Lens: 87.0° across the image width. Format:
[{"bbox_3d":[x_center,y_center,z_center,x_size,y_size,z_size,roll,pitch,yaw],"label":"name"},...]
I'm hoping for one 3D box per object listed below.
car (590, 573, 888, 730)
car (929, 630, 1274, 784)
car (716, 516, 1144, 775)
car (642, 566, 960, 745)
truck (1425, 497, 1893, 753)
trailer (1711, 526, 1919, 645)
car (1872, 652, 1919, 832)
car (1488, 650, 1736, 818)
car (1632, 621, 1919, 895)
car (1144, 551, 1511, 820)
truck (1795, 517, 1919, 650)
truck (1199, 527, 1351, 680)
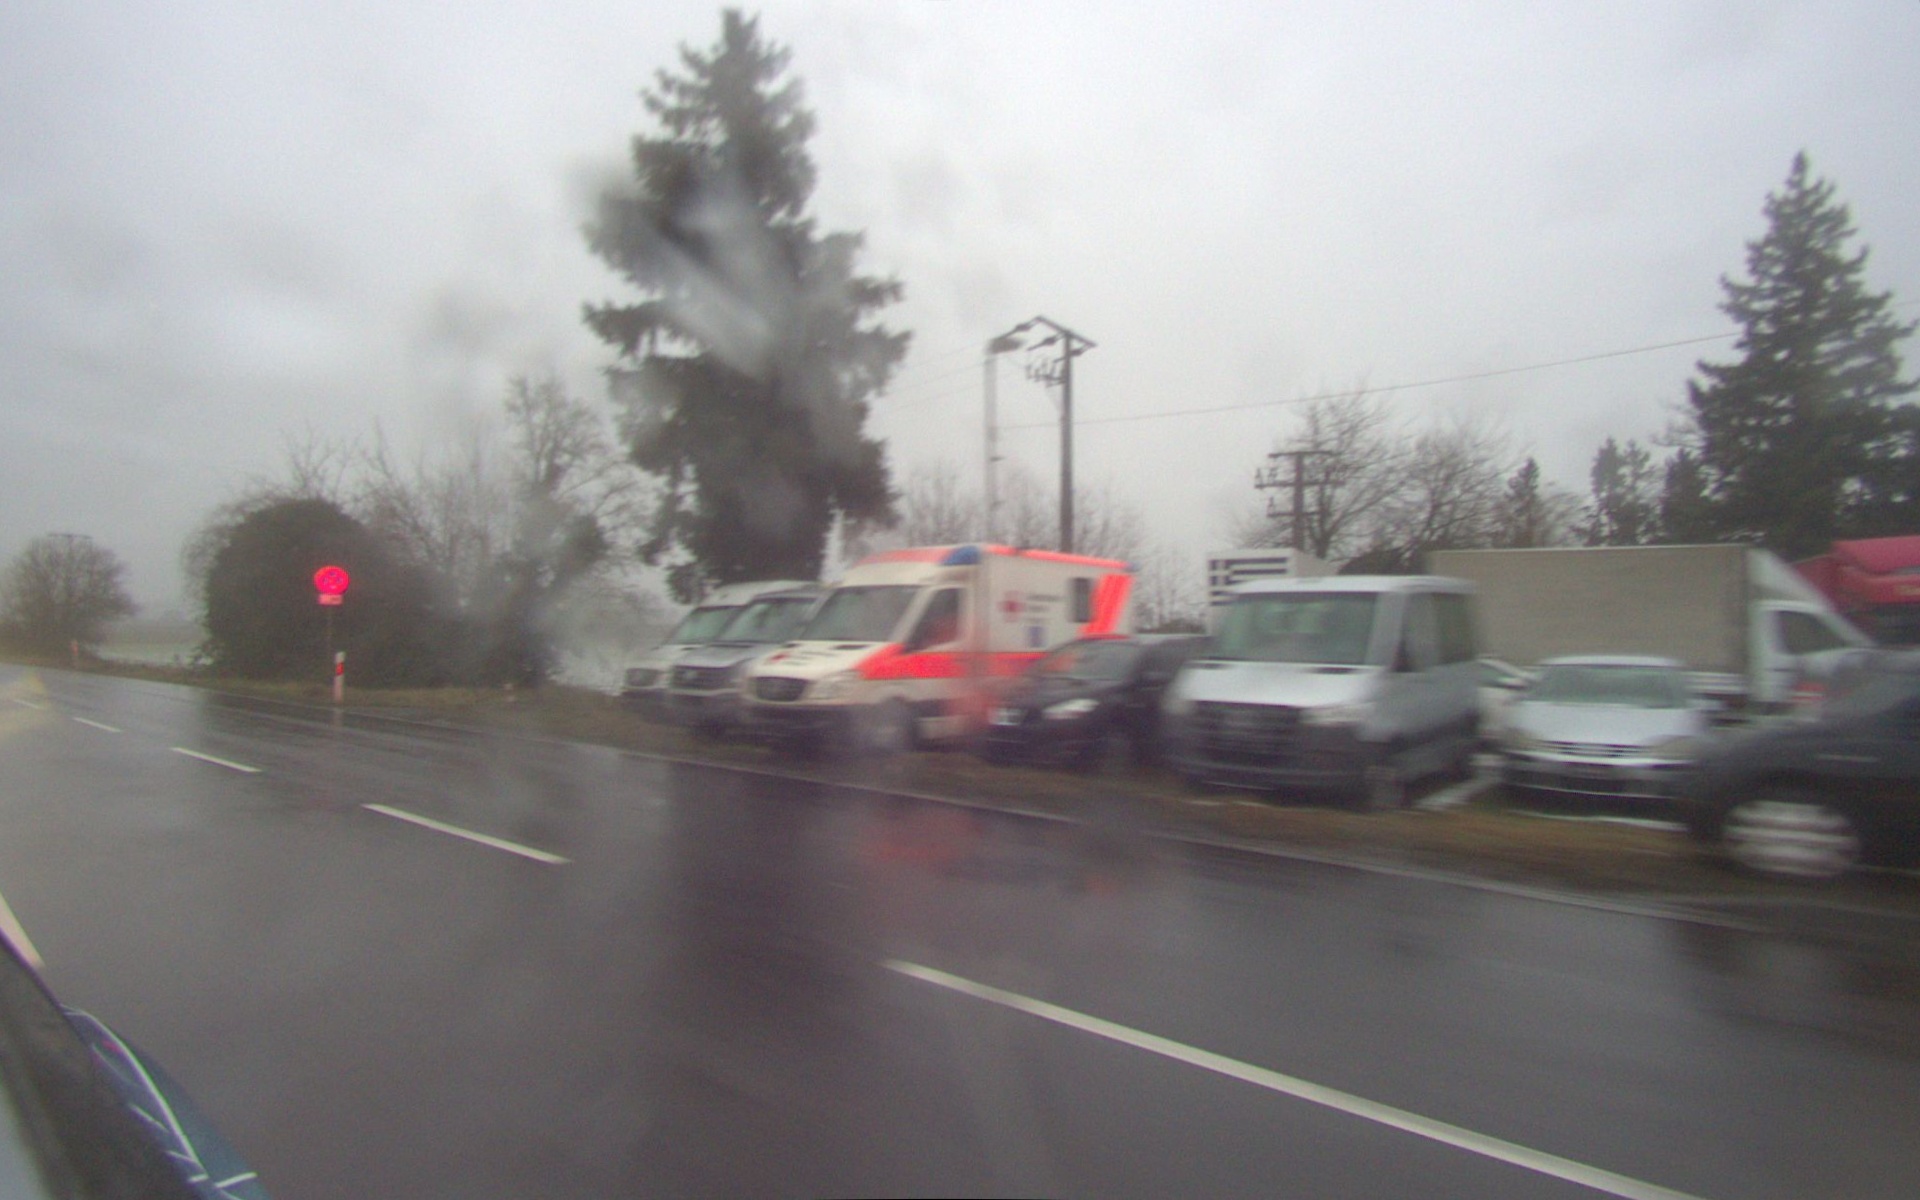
[{"bbox_3d":[-3.755,0.910,18.129,2.078,2.408,5.053,-2,-3,38],"label":"car"},{"bbox_3d":[1.916,1.162,12.260,1.953,1.494,4.700,-2,-4,40],"label":"car"},{"bbox_3d":[-0.047,0.604,13.416,2.174,2.652,6.093,-2,-4,40],"label":"car"},{"bbox_3d":[-2.239,0.827,15.417,1.986,2.290,4.619,-2,-4,39],"label":"car"},{"bbox_3d":[10.883,0.445,16.345,5.841,3.481,2.012,-1,-4,37],"label":"truck"},{"bbox_3d":[23.431,-0.302,28.068,2.208,2.694,10.415,-1,-1,26],"label":"trailer"},{"bbox_3d":[8.448,1.139,7.982,1.477,1.338,3.273,-1,-1,36],"label":"car"},{"bbox_3d":[6.996,1.252,10.780,1.838,1.394,3.951,-3,-4,36],"label":"car"},{"bbox_3d":[6.030,0.823,5.506,3.740,1.431,1.633,-3,-4,41],"label":"car"},{"bbox_3d":[4.140,0.822,10.791,2.057,2.167,5.093,-2,-4,40],"label":"car"},{"bbox_3d":[20.758,-0.333,22.550,2.222,2.717,4.683,-1,-1,26],"label":"truck"},{"bbox_3d":[10.450,0.071,32.808,2.994,4.293,8.628,-1,0,29],"label":"truck"}]
